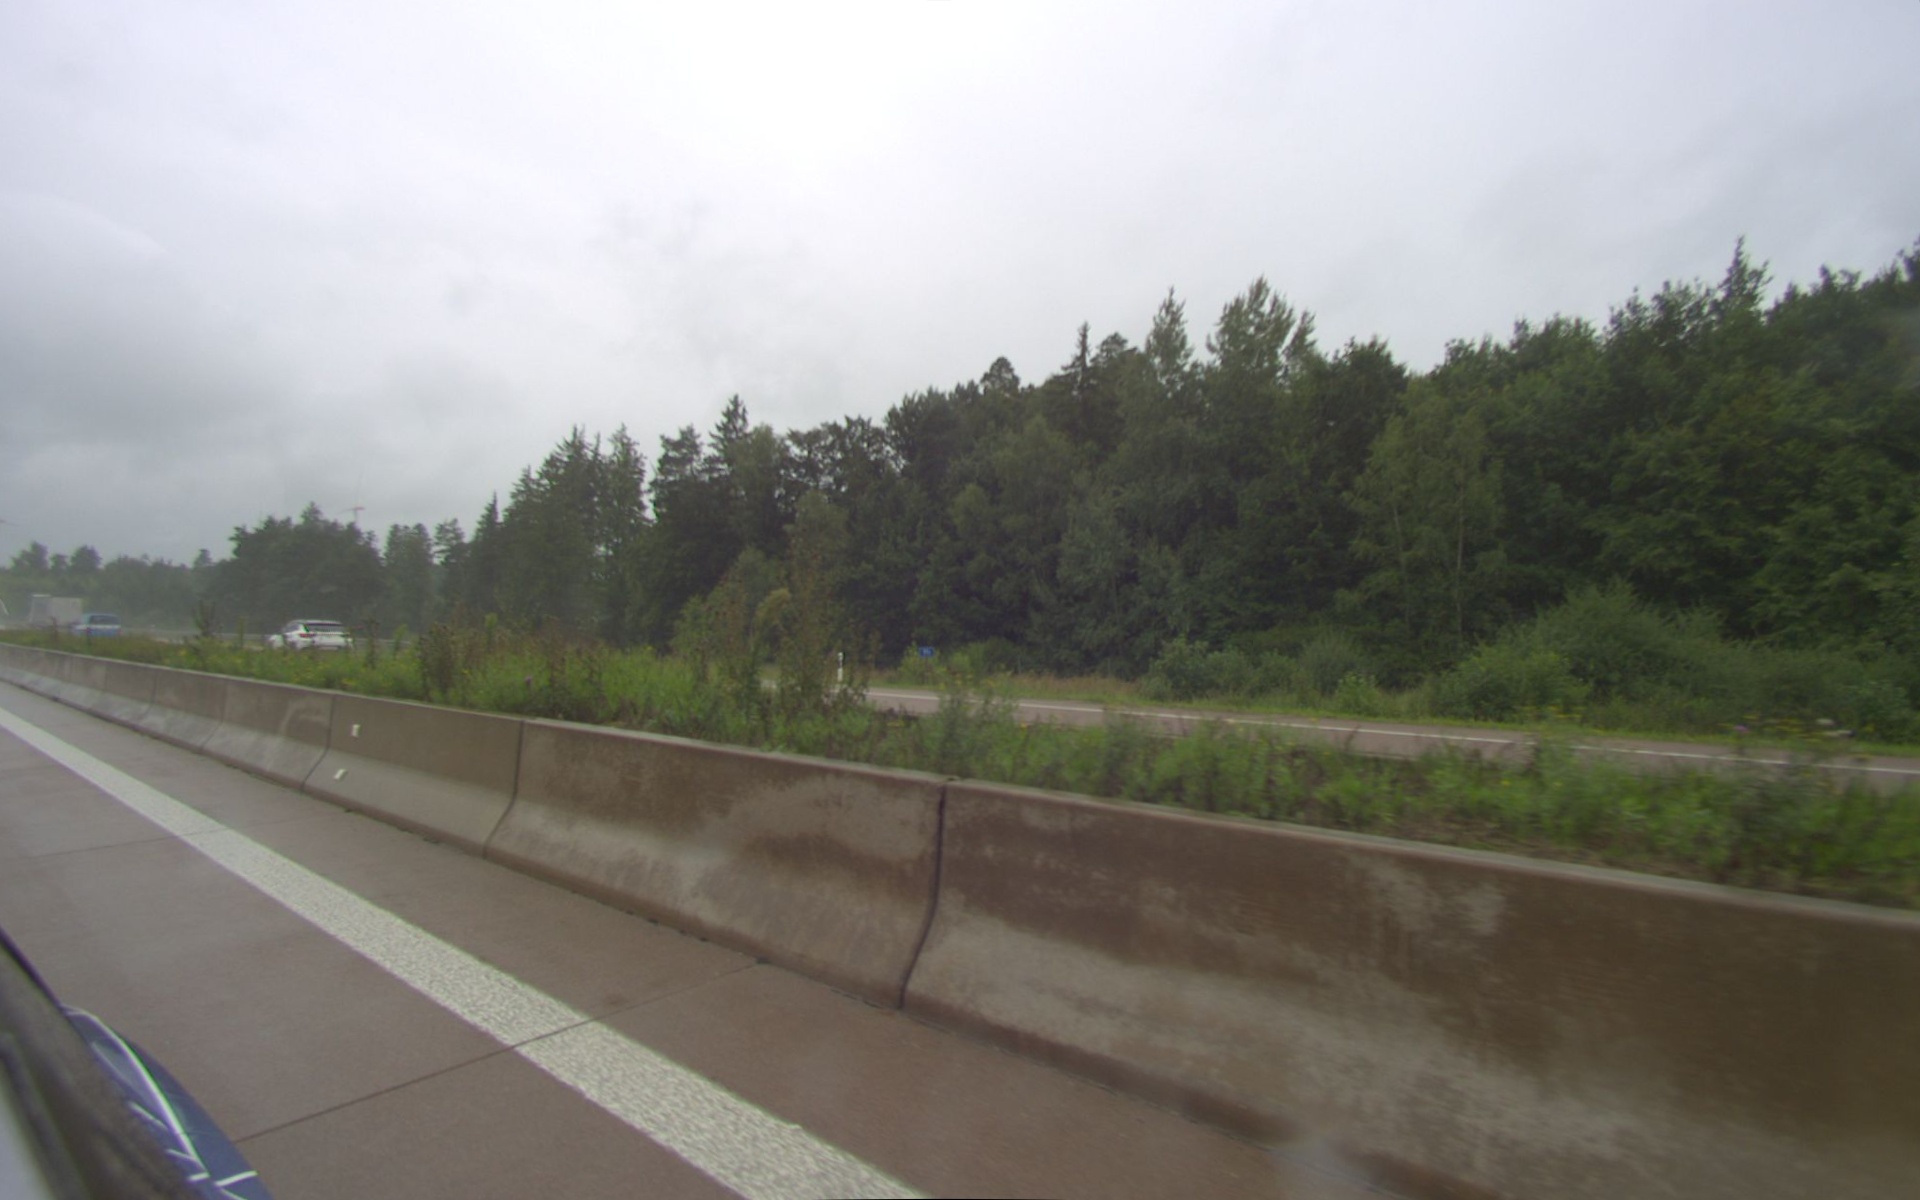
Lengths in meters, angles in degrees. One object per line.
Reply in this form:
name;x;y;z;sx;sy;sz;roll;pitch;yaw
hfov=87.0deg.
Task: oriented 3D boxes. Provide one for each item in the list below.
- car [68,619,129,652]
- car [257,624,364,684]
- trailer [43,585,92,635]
car;-57.431;2.324;67.422;5.659;2.029;2.282;-1;-1;41
car;-23.883;1.905;37.163;4.796;2.029;2.067;-1;-1;41
trailer;-95.714;1.080;108.575;3.709;4.990;13.699;-1;0;-42
